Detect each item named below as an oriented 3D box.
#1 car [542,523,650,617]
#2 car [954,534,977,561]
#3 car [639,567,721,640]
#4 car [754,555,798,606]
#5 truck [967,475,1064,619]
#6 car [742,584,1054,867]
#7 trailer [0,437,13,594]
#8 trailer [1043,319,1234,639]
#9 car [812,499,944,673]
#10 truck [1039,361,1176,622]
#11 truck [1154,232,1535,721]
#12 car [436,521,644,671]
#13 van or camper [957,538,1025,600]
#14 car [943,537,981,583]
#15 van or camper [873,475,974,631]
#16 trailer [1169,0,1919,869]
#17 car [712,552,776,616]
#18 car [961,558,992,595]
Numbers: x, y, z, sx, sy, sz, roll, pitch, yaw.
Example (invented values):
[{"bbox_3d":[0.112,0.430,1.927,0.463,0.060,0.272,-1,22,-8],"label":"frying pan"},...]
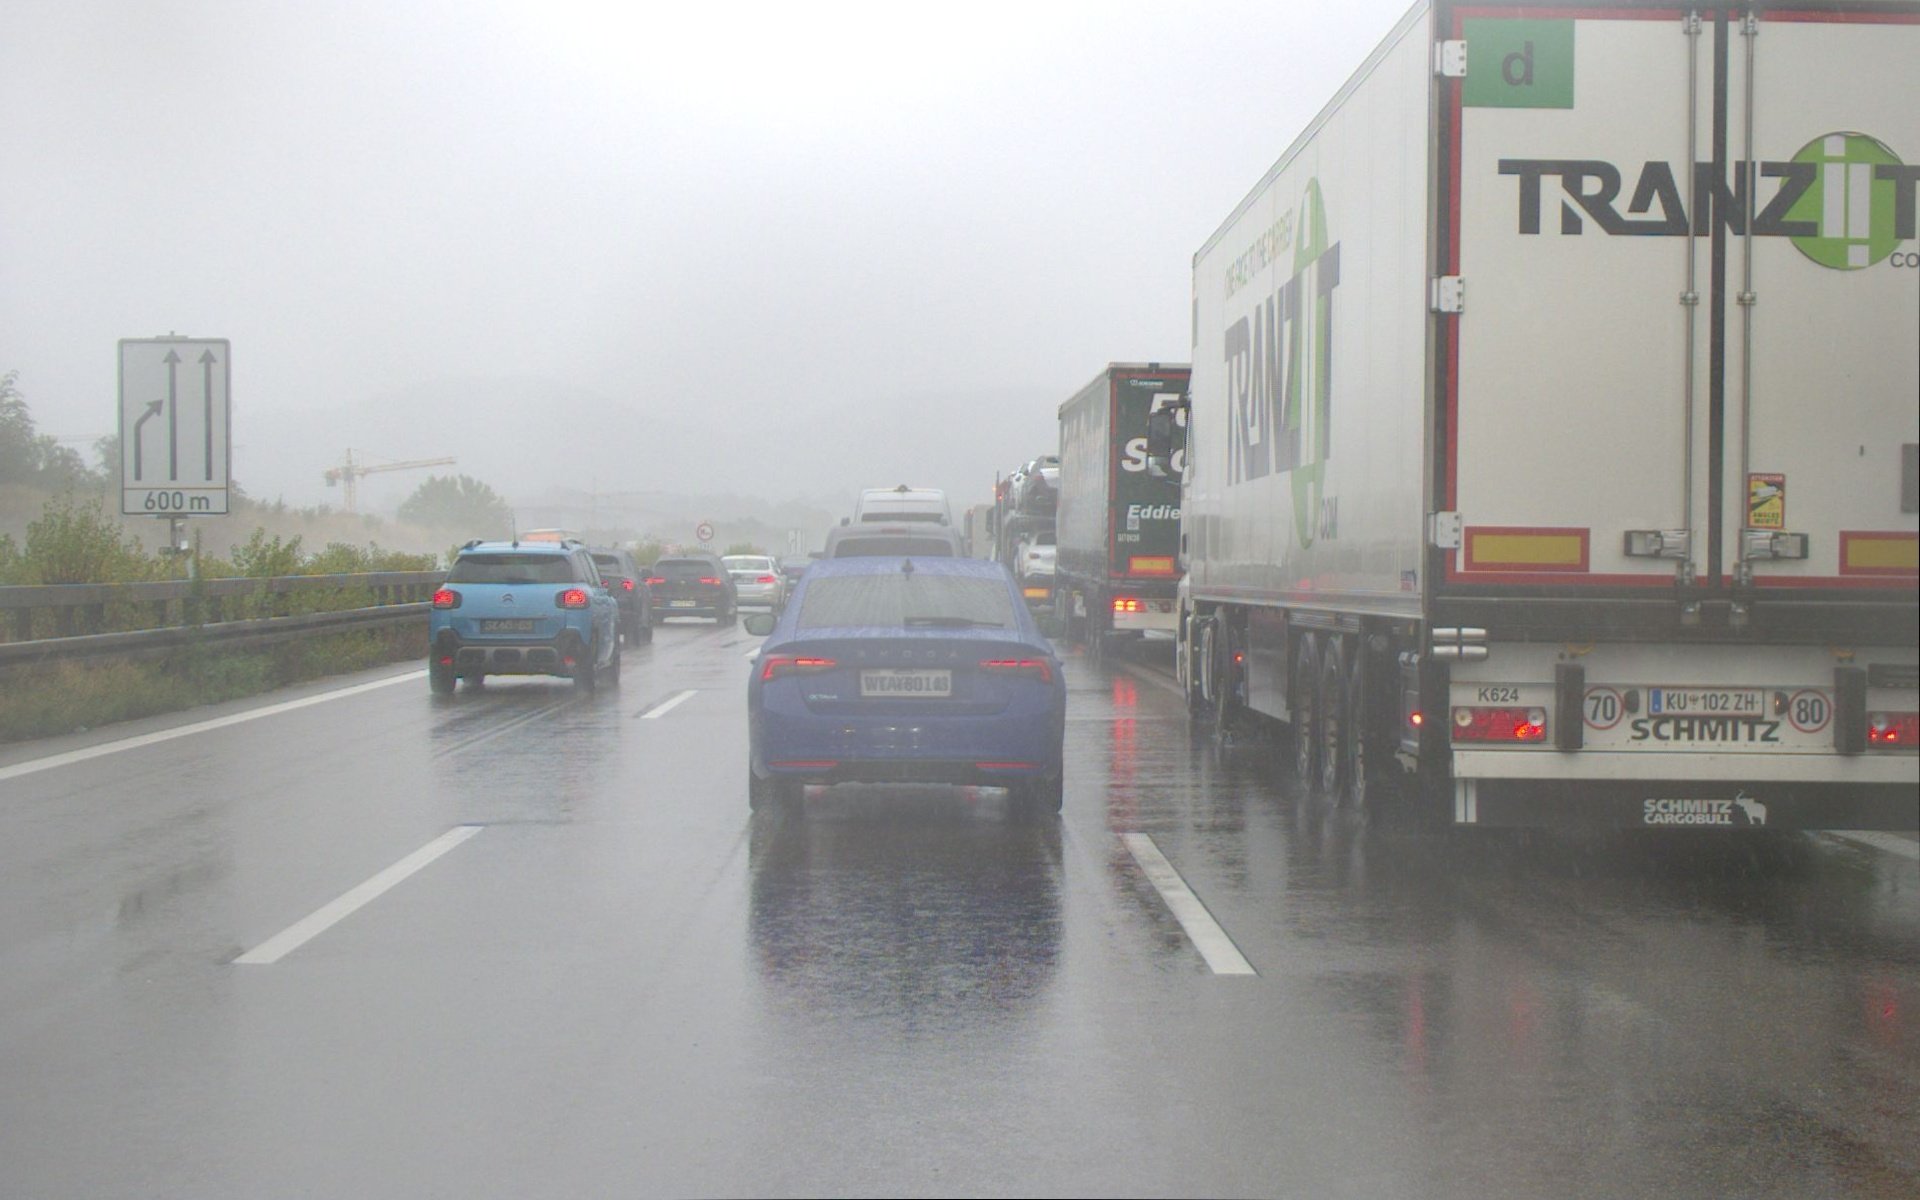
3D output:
[{"bbox_3d":[-5.683,-0.491,53.928,1.359,1.426,3.364,0,1,-1],"label":"car"},{"bbox_3d":[0.374,-3.465,226.479,1.448,1.777,3.409,1,1,-1],"label":"car"},{"bbox_3d":[-5.716,0.047,70.412,1.439,1.415,3.322,0,1,-1],"label":"car"},{"bbox_3d":[-6.658,-0.715,124.593,1.448,1.777,3.409,1,1,-1],"label":"car"},{"bbox_3d":[1.330,-1.361,85.602,1.993,3.410,8.033,0,2,-2],"label":"truck"},{"bbox_3d":[-0.326,0.653,20.092,1.635,1.440,4.000,0,1,0],"label":"car"},{"bbox_3d":[-17.863,-1.449,56.479,2.481,2.710,7.323,-2,0,0],"label":"trailer"},{"bbox_3d":[2.470,-1.694,50.576,2.047,4.162,11.449,0,1,-1],"label":"trailer"},{"bbox_3d":[-0.856,-0.177,36.717,1.336,1.773,3.322,0,1,-1],"label":"car"},{"bbox_3d":[2.406,-1.776,57.075,2.047,4.178,4.000,0,1,-1],"label":"truck"},{"bbox_3d":[3.144,-1.013,29.312,2.630,3.814,4.791,0,1,-1],"label":"truck"},{"bbox_3d":[-4.452,-0.076,36.931,1.721,1.518,4.000,0,1,0],"label":"car"},{"bbox_3d":[0.827,-0.881,95.366,1.771,1.619,4.484,0,2,-1],"label":"van or camper"},{"bbox_3d":[0.084,-1.588,136.602,1.448,1.777,3.409,1,1,-1],"label":"car"},{"bbox_3d":[-0.683,-0.897,64.094,1.797,2.797,4.768,0,1,-1],"label":"van or camper"},{"bbox_3d":[3.231,-0.955,22.616,2.630,3.999,14.630,0,1,-1],"label":"trailer"},{"bbox_3d":[-5.373,-0.409,85.821,1.439,1.528,3.322,0,1,-1],"label":"car"},{"bbox_3d":[0.693,-1.012,148.382,1.248,1.507,3.108,-1,2,-1],"label":"car"}]
